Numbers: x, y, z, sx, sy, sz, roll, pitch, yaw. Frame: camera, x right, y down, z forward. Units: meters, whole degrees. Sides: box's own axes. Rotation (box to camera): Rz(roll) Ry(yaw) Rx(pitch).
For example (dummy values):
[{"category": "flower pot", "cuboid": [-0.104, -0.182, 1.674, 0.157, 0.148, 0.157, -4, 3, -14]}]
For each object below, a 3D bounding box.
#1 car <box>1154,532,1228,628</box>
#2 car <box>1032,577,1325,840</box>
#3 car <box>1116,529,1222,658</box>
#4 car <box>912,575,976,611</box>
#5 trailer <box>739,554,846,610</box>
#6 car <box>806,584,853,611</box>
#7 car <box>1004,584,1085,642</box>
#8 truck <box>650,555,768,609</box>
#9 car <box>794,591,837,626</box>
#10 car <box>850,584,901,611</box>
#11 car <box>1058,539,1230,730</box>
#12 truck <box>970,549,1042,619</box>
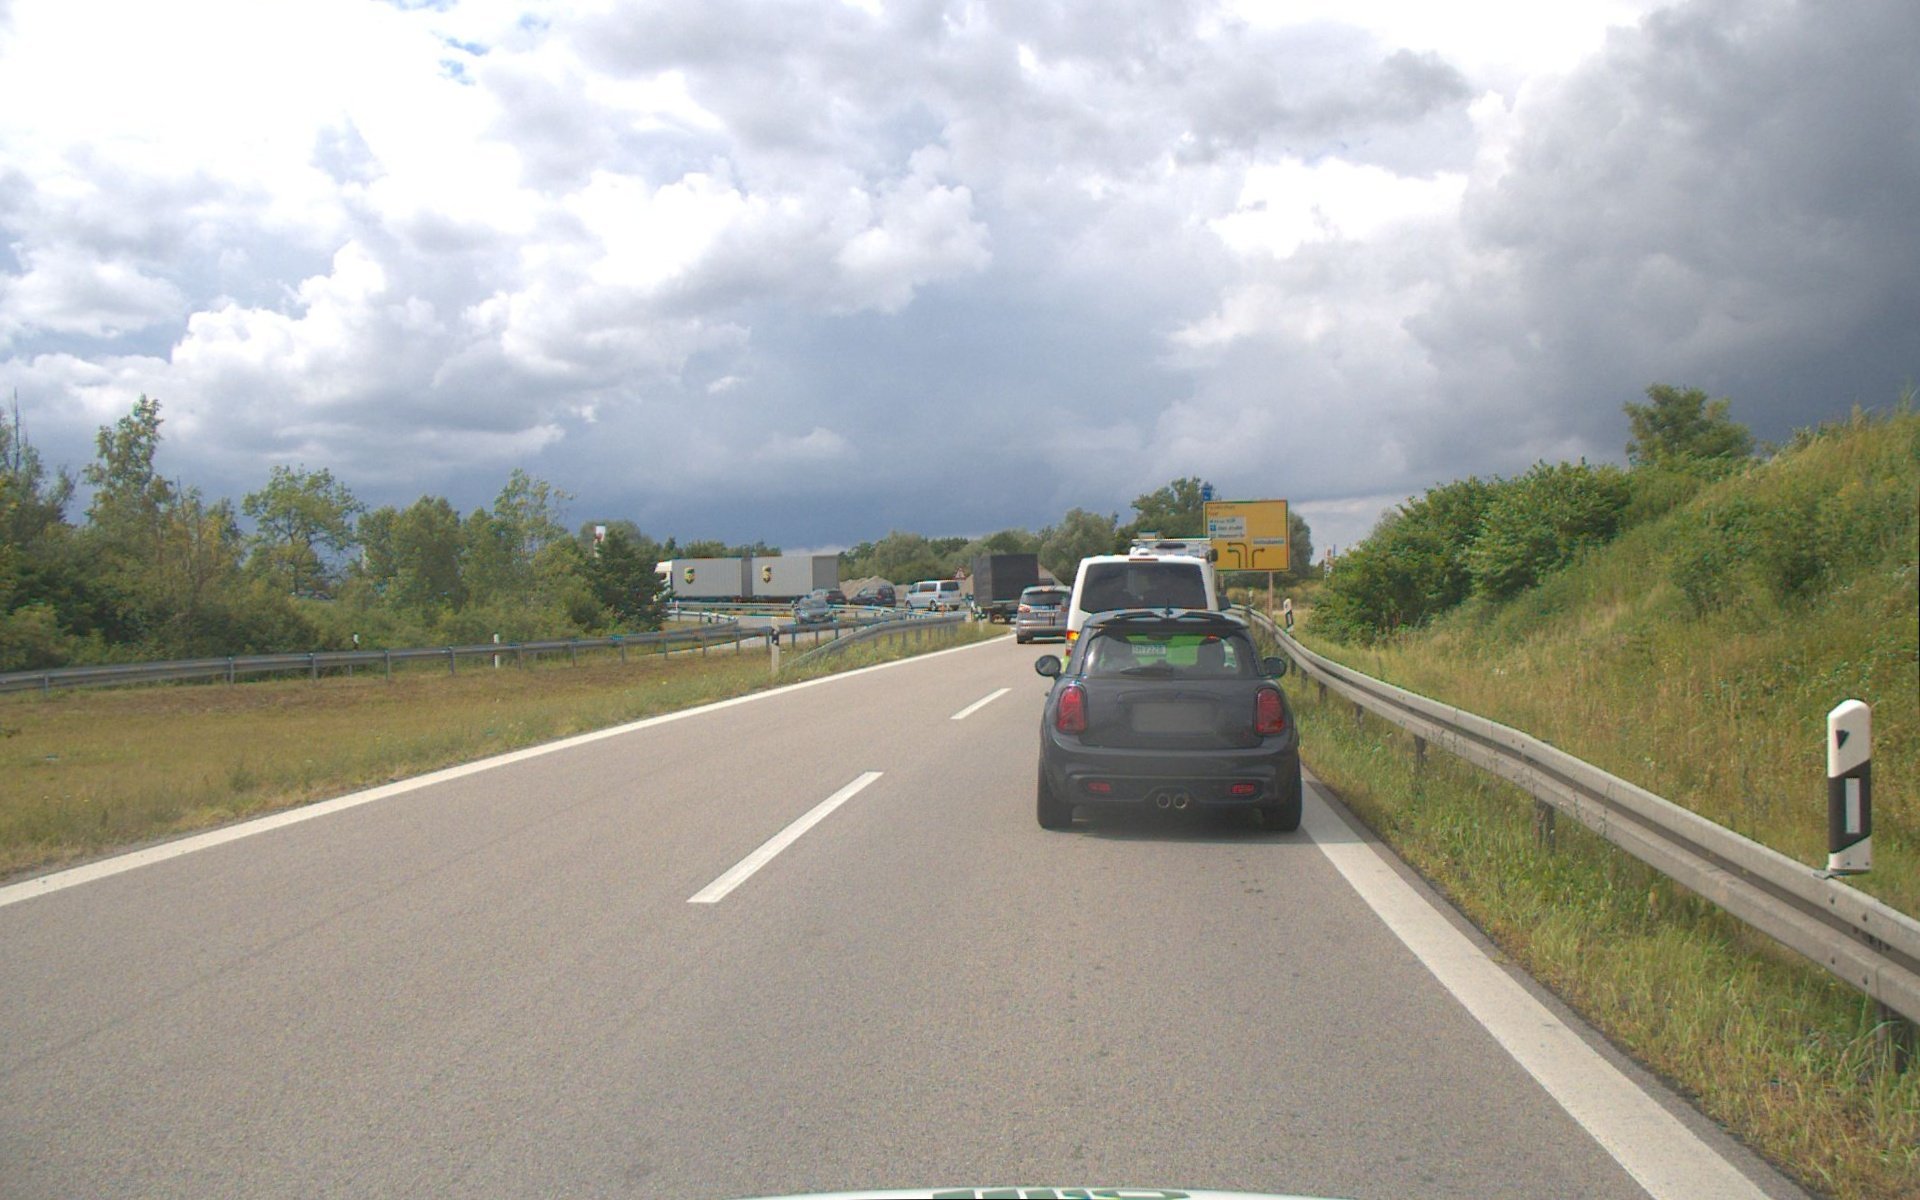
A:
[{"category": "car", "cuboid": [8.057, -0.601, 57.154, 2.261, 3.122, 6.667, 1, -1, 10]}, {"category": "car", "cuboid": [1.441, 0.661, 11.947, 1.762, 1.573, 3.740, 1, 0, 3]}, {"category": "car", "cuboid": [4.706, -0.092, 37.454, 2.165, 2.668, 5.538, 1, -1, 7]}, {"category": "car", "cuboid": [-1.105, -0.453, 109.982, 2.262, 2.300, 5.064, 1, -1, -26]}, {"category": "trailer", "cuboid": [-12.505, -1.330, 122.974, 8.620, 3.966, 3.026, 0, -1, 43]}, {"category": "car", "cuboid": [-9.097, -0.156, 115.224, 1.792, 1.786, 3.962, 2, -1, -28]}, {"category": "car", "cuboid": [2.551, 0.394, 49.062, 1.978, 1.605, 4.590, -1, -1, 8]}, {"category": "truck", "cuboid": [-19.601, -1.414, 128.754, 9.825, 4.046, 2.836, 0, -1, 35]}, {"category": "car", "cuboid": [-7.454, 0.454, 85.028, 1.729, 1.621, 3.988, -2, -1, -12]}, {"category": "car", "cuboid": [-6.010, -0.165, 117.351, 1.900, 1.870, 4.276, 2, -1, -28]}, {"category": "car", "cuboid": [2.310, 0.388, 20.276, 1.870, 2.081, 4.184, 0, 0, 8]}, {"category": "truck", "cuboid": [2.181, -0.711, 81.527, 2.511, 3.223, 7.458, 1, -1, -6]}]
